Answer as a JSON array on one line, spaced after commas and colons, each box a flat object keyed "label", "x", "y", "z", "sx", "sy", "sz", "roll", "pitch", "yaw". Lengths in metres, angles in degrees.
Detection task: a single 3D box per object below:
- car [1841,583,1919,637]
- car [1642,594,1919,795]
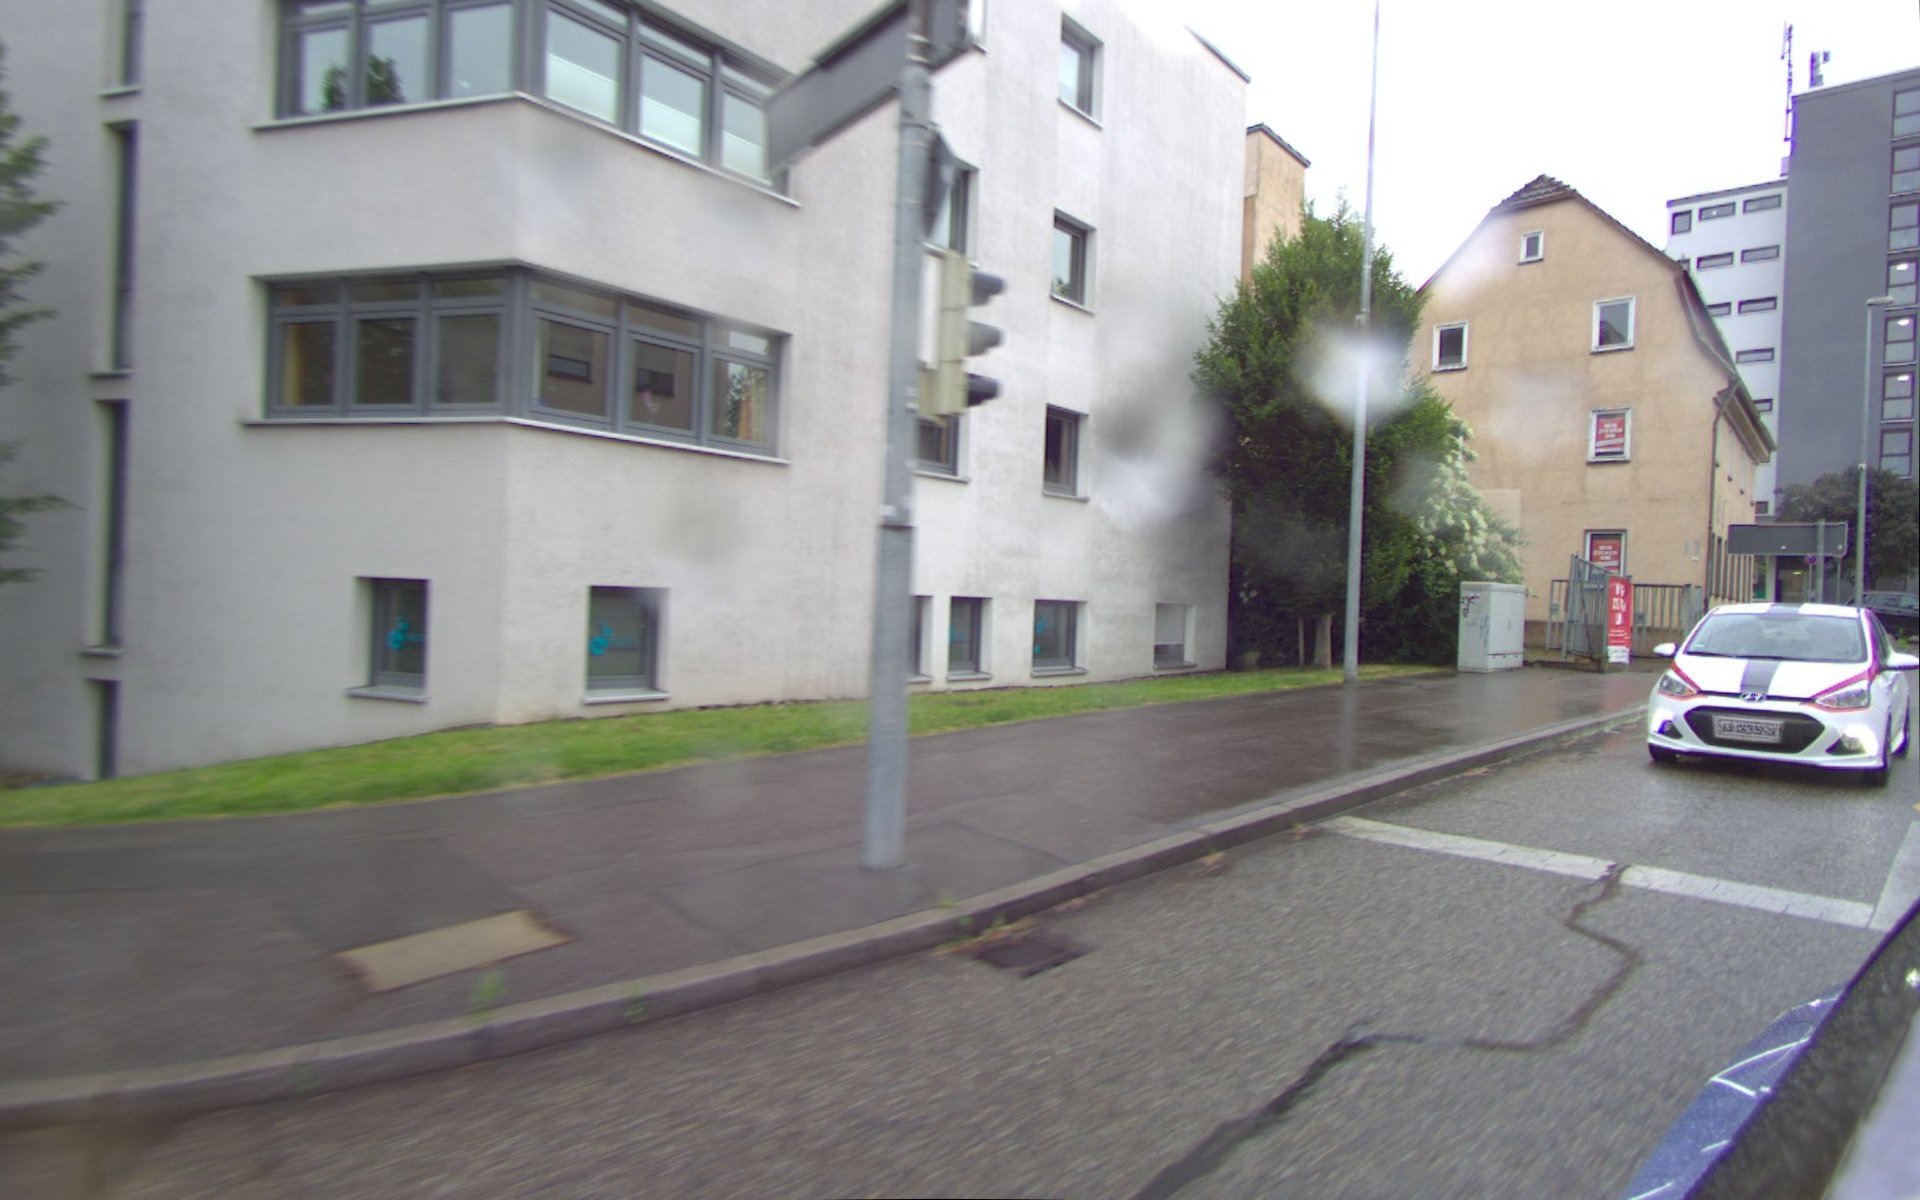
[{"label": "car", "x": 31.594, "y": 0.381, "z": 32.664, "sx": 1.683, "sy": 1.591, "sz": 4.431, "roll": -1, "pitch": 4, "yaw": -19}, {"label": "car", "x": 8.011, "y": 0.710, "z": 9.622, "sx": 3.700, "sy": 1.471, "sz": 1.709, "roll": 0, "pitch": 3, "yaw": -43}]
